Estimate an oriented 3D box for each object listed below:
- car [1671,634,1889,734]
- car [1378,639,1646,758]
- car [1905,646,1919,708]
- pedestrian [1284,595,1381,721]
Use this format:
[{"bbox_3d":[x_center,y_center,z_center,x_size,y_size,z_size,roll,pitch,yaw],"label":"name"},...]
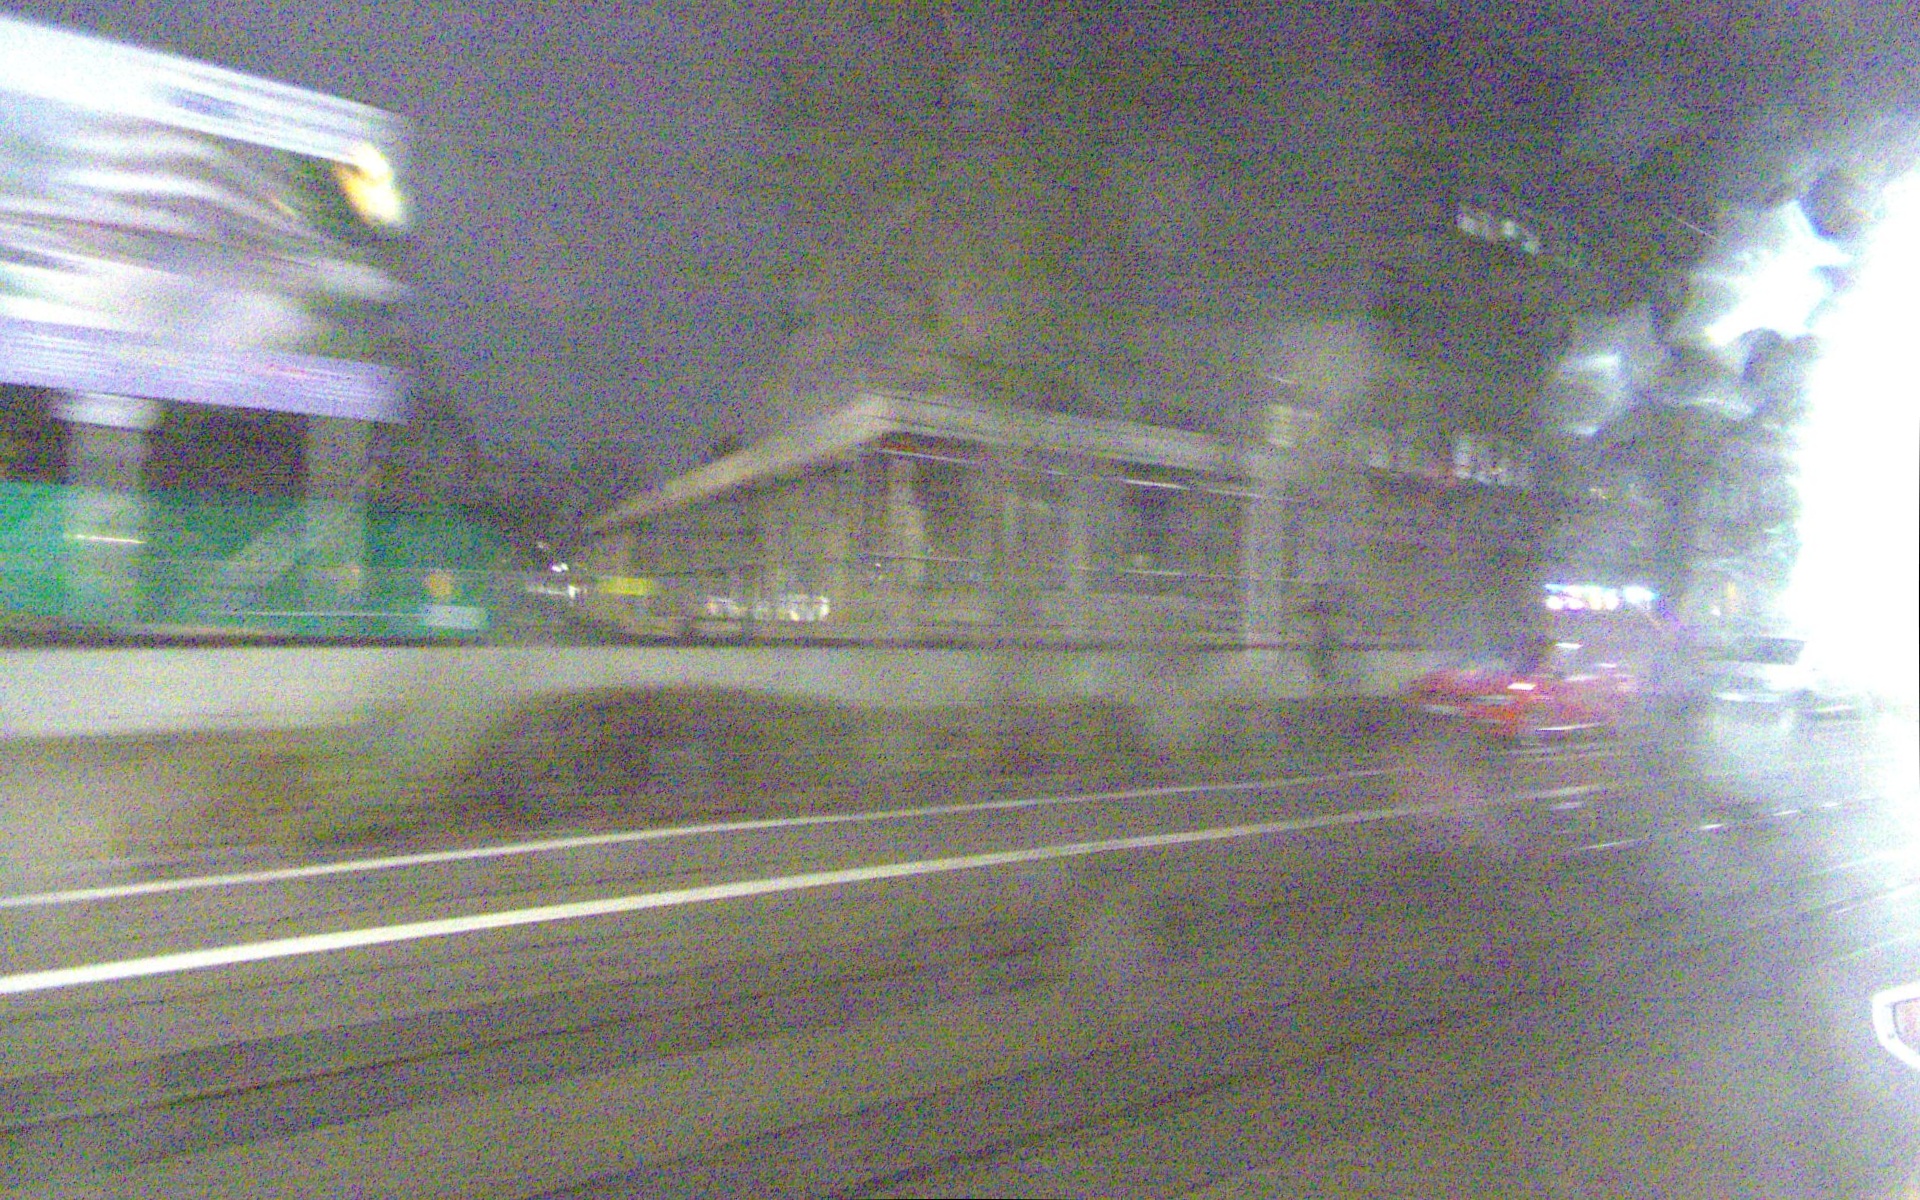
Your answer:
[{"bbox_3d":[15.839,1.555,19.367,4.302,1.600,1.801,2,2,-30],"label":"car"},{"bbox_3d":[8.138,1.380,14.743,3.905,1.475,1.710,3,-1,-31],"label":"car"},{"bbox_3d":[25.038,1.919,24.465,4.572,1.457,1.723,3,-1,-30],"label":"car"},{"bbox_3d":[5.962,0.911,16.083,1.275,1.926,0.789,2,-1,-30],"label":"pedestrian"}]
